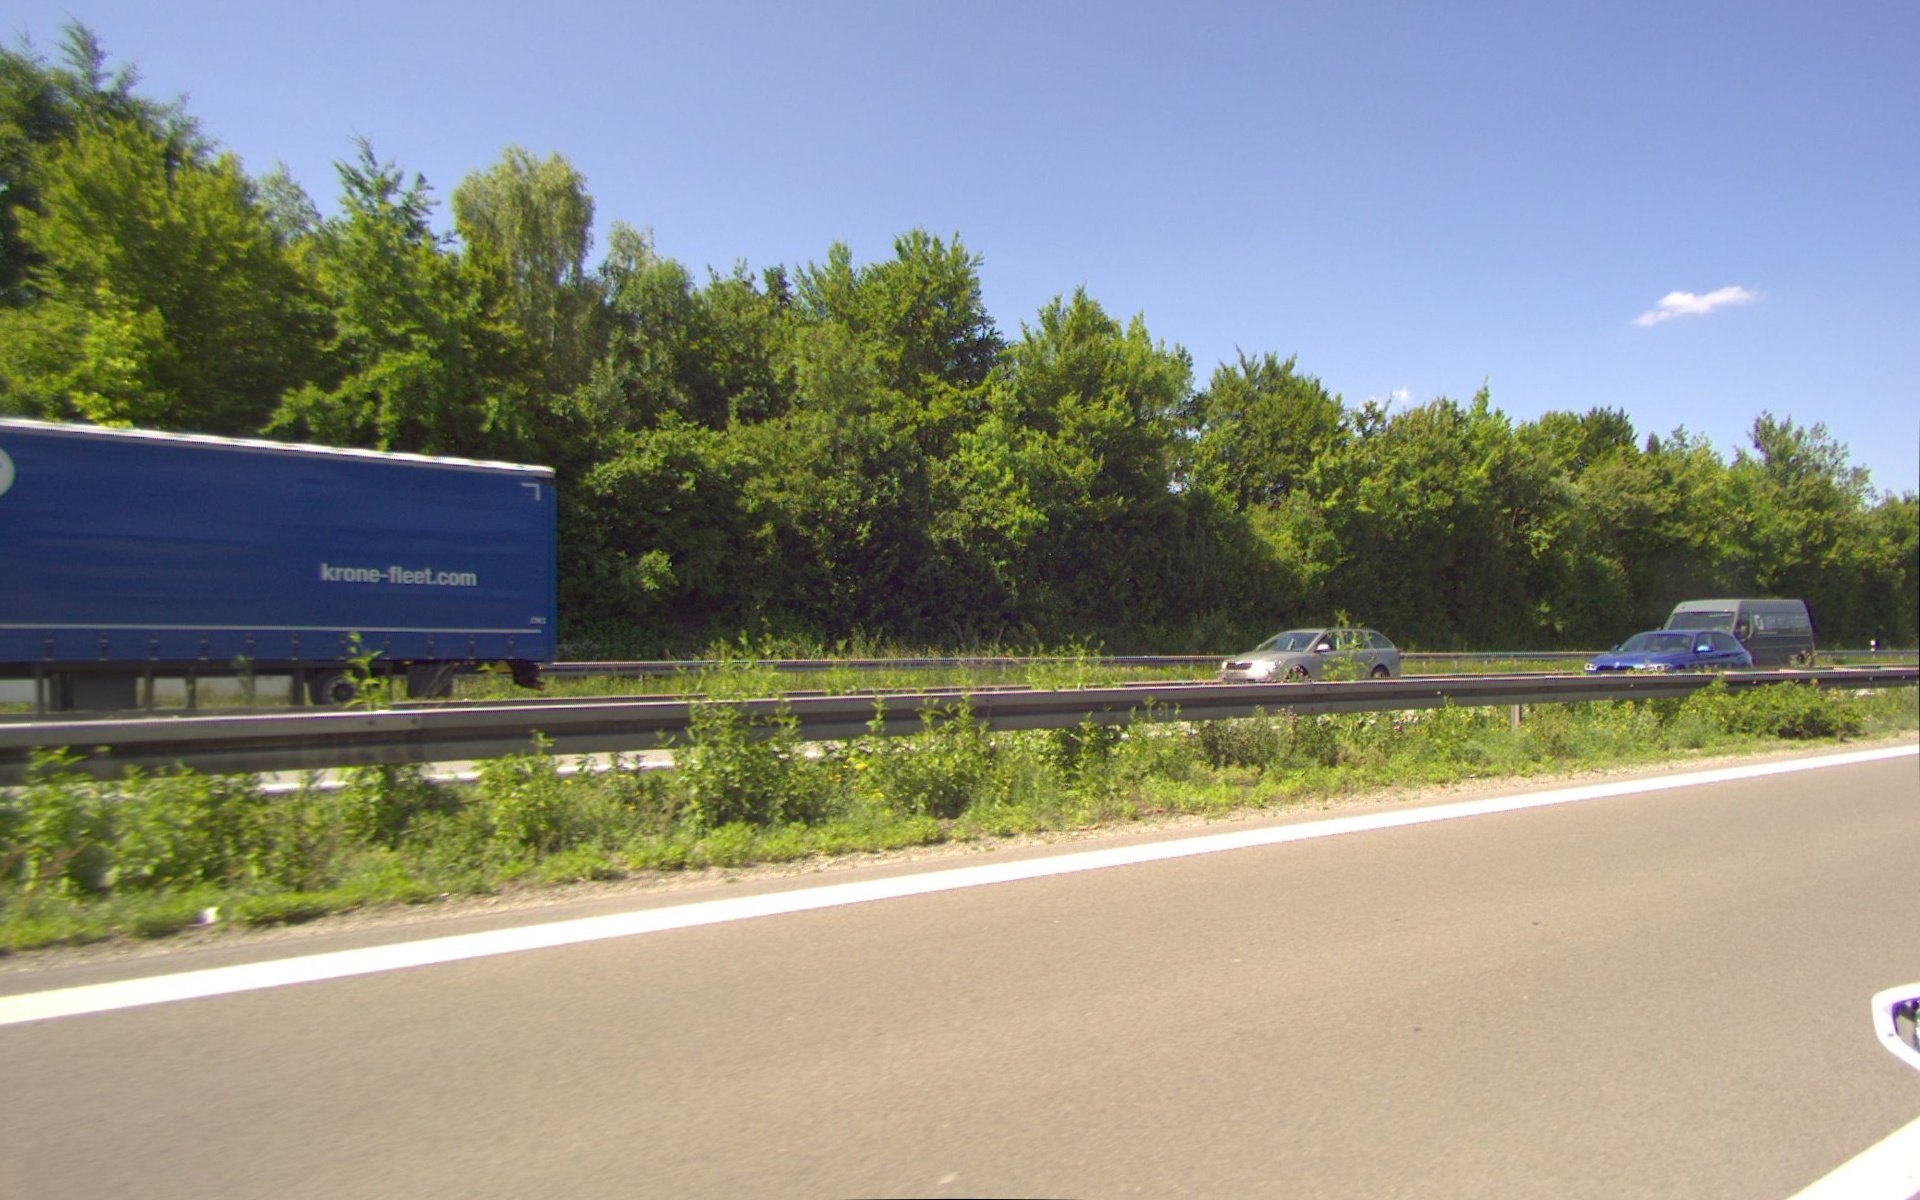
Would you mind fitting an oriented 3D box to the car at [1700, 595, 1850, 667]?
[{"bbox_3d":[25.688,1.007,31.622,5.188,2.124,1.984,2,-2,-30],"label":"car"}]

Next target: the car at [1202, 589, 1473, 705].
[{"bbox_3d":[8.431,1.051,22.160,6.441,2.264,1.984,2,-2,-30],"label":"car"}]

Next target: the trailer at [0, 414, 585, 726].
[{"bbox_3d":[-12.760,-0.324,14.671,13.387,4.093,2.772,1,-3,-30],"label":"trailer"}]

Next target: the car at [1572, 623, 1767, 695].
[{"bbox_3d":[15.077,1.206,21.288,4.493,1.393,1.716,1,-2,-31],"label":"car"}]
